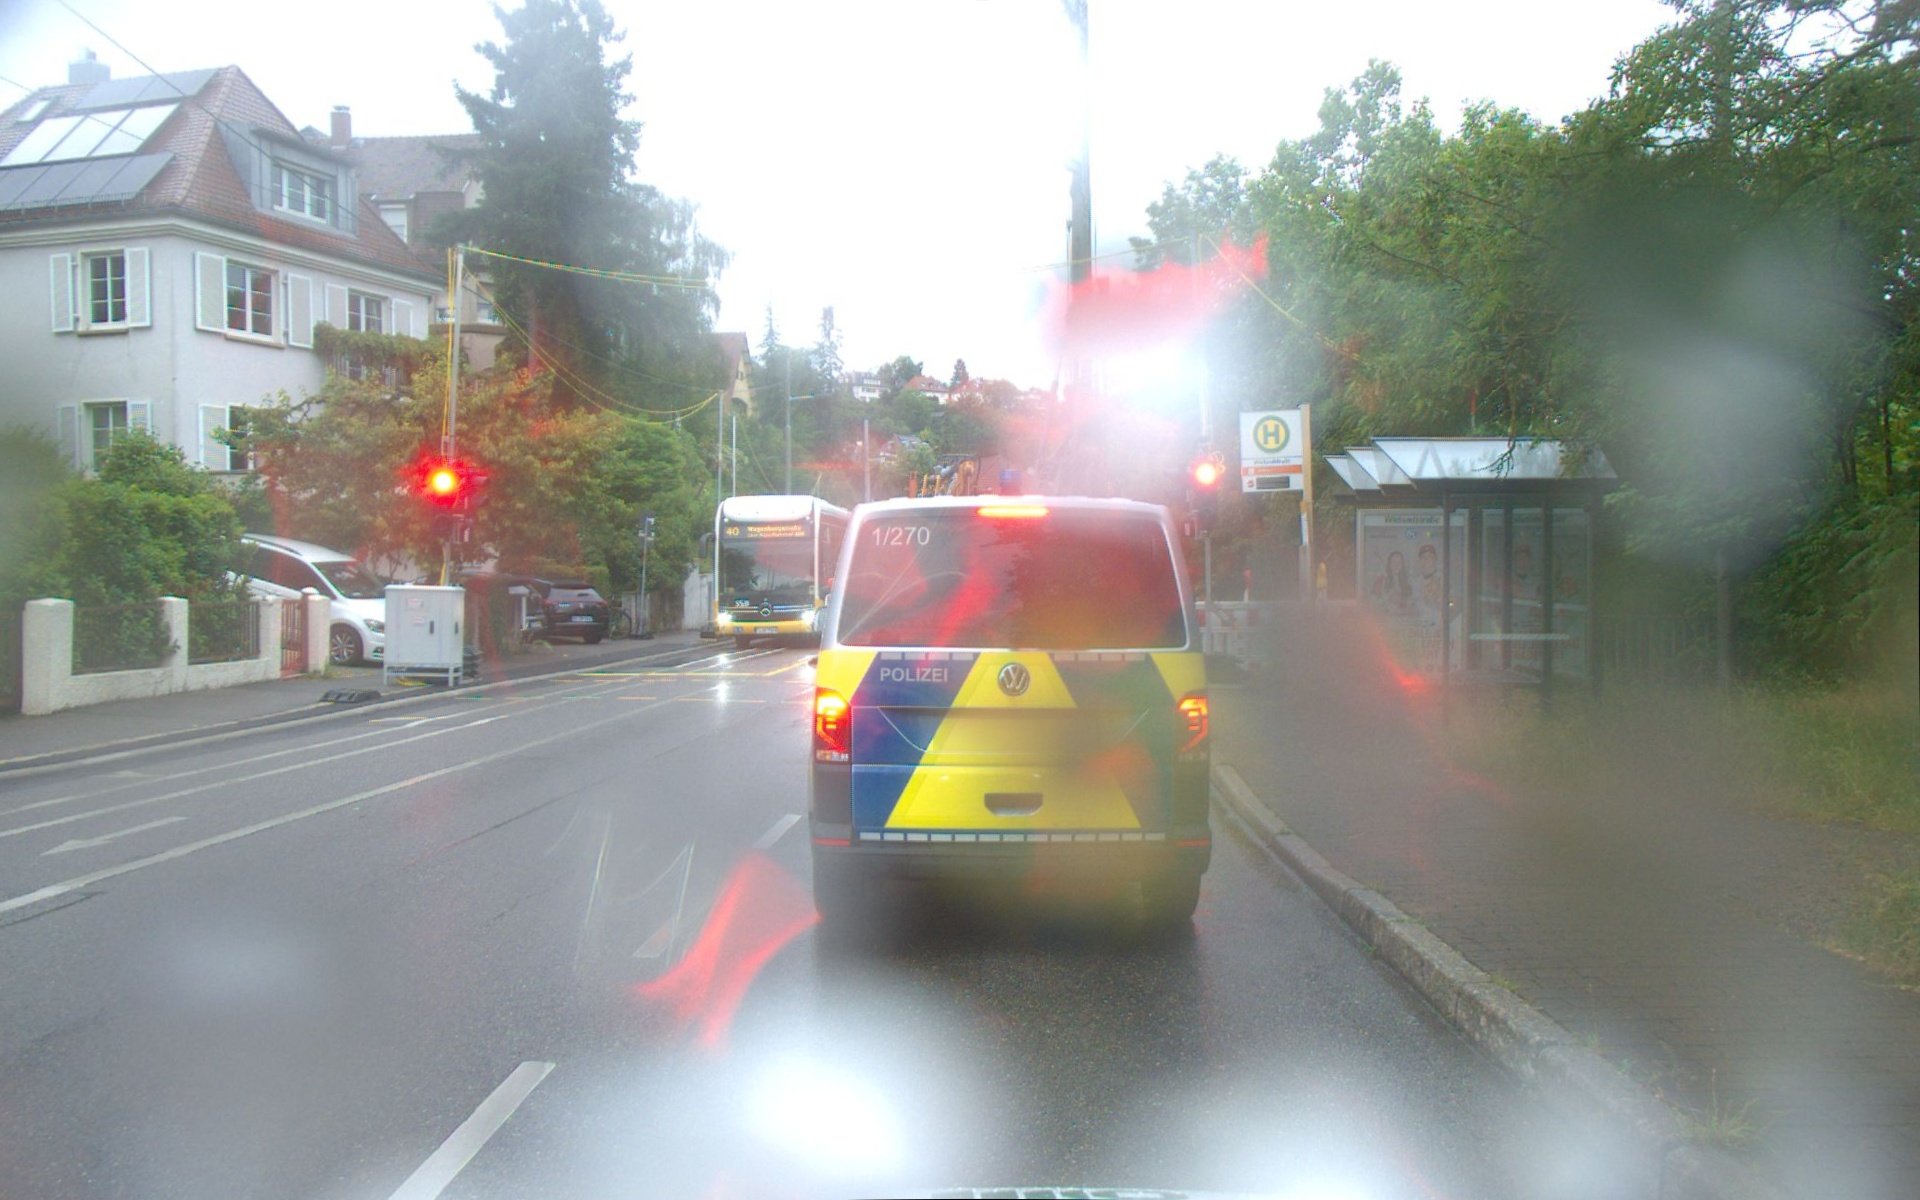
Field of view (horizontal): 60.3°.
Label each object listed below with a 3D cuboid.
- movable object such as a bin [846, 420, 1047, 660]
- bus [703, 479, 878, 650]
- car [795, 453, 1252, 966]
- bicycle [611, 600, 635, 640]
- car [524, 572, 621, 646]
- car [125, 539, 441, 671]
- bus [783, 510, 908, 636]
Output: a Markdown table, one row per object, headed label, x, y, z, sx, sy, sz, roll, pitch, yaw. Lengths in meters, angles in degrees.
| label | x | y | z | sx | sy | sz | roll | pitch | yaw |
| --- | --- | --- | --- | --- | --- | --- | --- | --- | --- |
| movable object such as a bin | -0.155 | -1.090 | 31.638 | 2.770 | 4.250 | 4.384 | 1 | 0 | 14 |
| bus | -4.077 | -0.838 | 42.918 | 2.782 | 3.783 | 12.009 | 1 | 0 | 2 |
| car | 0.237 | 0.441 | 8.820 | 1.855 | 2.086 | 3.999 | 1 | 0 | -1 |
| bicycle | -8.043 | 0.471 | 39.454 | 0.455 | 0.913 | 1.628 | 0 | 0 | -15 |
| car | -8.900 | 0.181 | 37.828 | 1.739 | 1.512 | 3.721 | 1 | 2 | -20 |
| car | -11.198 | 0.062 | 27.490 | 4.532 | 2.042 | 1.902 | 1 | 0 | 11 |
| bus | -3.565 | -0.848 | 54.848 | 2.782 | 3.688 | 12.009 | 1 | 0 | 2 |
